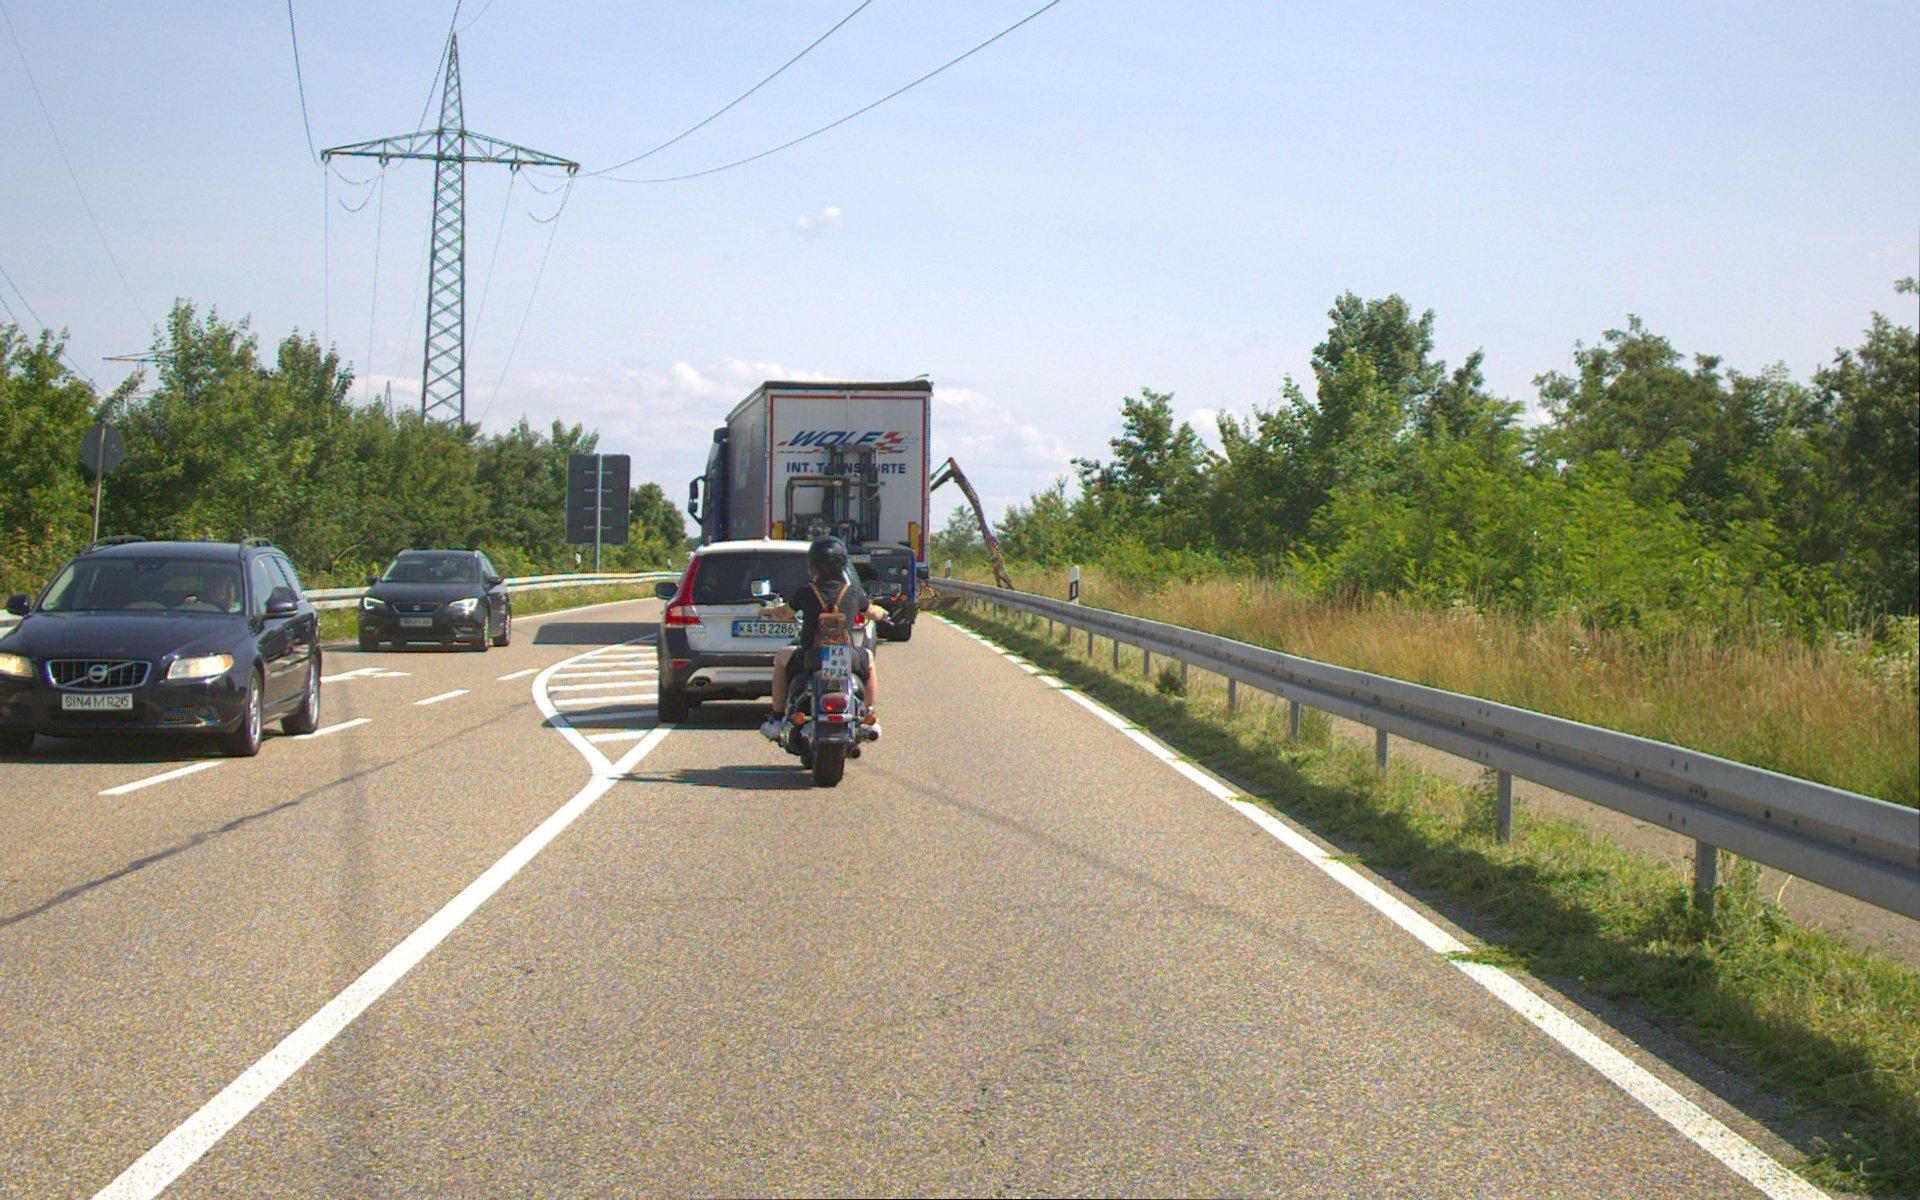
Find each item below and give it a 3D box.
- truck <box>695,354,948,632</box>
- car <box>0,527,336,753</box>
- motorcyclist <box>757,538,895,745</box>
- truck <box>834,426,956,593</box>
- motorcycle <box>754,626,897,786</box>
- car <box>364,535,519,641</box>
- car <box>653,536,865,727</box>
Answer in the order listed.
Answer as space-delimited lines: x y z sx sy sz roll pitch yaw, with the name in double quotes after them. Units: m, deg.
-2.670 -1.763 59.738 2.967 4.172 14.825 1 1 -8 "truck"
-5.763 0.223 25.135 1.727 1.486 4.423 1 1 -2 "car"
-0.860 0.253 21.874 0.837 1.276 0.919 1 1 -4 "motorcyclist"
-1.581 -2.086 80.290 2.613 3.698 6.778 1 1 -3 "truck"
-0.879 0.649 21.897 0.858 0.912 2.228 0 1 -4 "motorcycle"
-7.401 -0.209 49.402 1.659 1.437 4.215 1 1 -1 "car"
-1.685 0.229 29.763 1.701 1.531 3.499 1 1 -2 "car"
